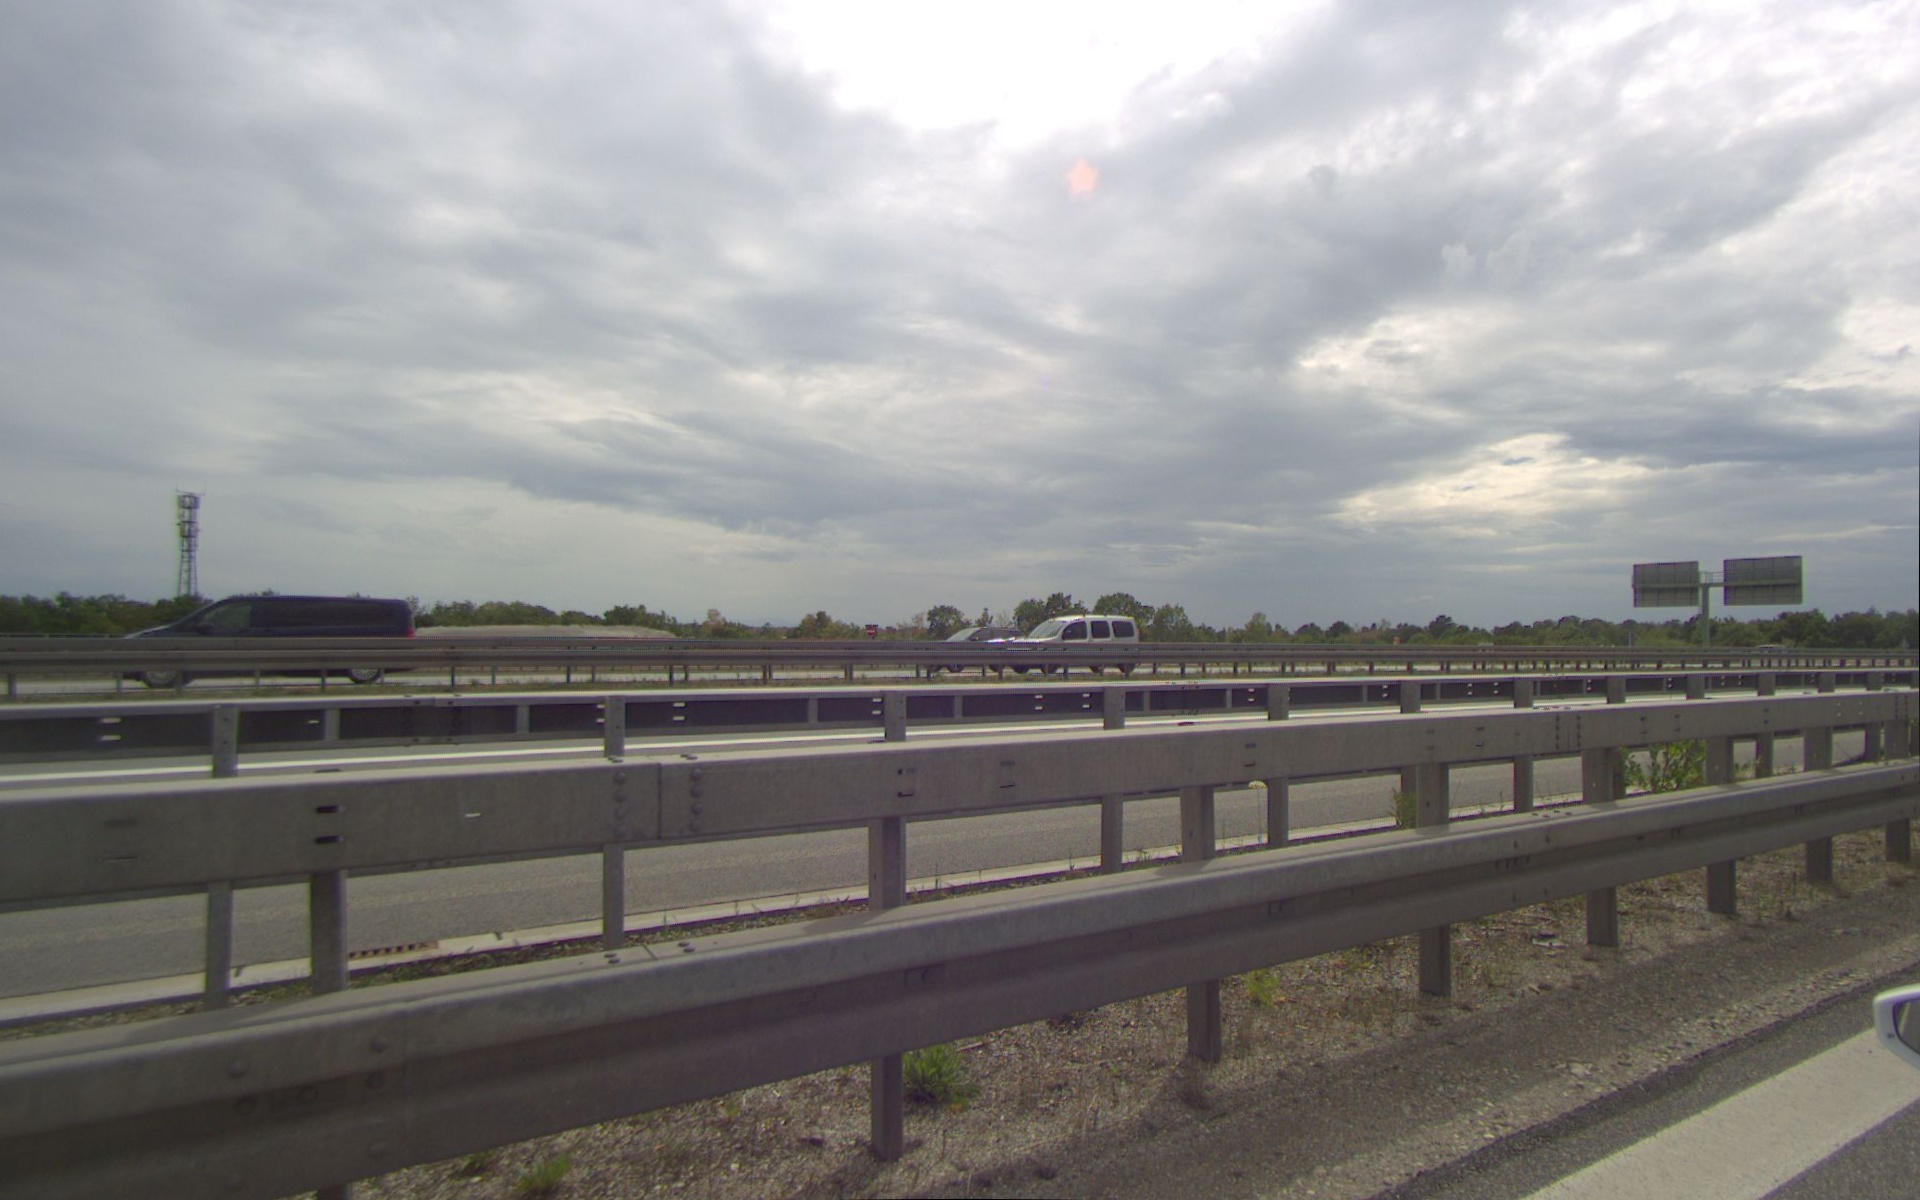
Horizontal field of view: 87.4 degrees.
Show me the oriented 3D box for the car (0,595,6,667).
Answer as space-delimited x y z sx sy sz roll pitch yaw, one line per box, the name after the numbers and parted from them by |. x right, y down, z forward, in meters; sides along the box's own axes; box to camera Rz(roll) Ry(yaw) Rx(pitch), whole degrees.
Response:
-32.815 0.976 31.045 4.438 2.337 1.984 1 0 -31 | car

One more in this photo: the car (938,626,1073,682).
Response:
1.589 1.860 35.027 4.278 1.680 1.984 2 2 -30 | car

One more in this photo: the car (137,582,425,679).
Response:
-14.085 0.648 21.245 4.841 1.832 1.734 2 1 -29 | car

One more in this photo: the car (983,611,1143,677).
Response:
3.265 1.362 31.632 4.768 1.818 1.900 2 2 -31 | car
